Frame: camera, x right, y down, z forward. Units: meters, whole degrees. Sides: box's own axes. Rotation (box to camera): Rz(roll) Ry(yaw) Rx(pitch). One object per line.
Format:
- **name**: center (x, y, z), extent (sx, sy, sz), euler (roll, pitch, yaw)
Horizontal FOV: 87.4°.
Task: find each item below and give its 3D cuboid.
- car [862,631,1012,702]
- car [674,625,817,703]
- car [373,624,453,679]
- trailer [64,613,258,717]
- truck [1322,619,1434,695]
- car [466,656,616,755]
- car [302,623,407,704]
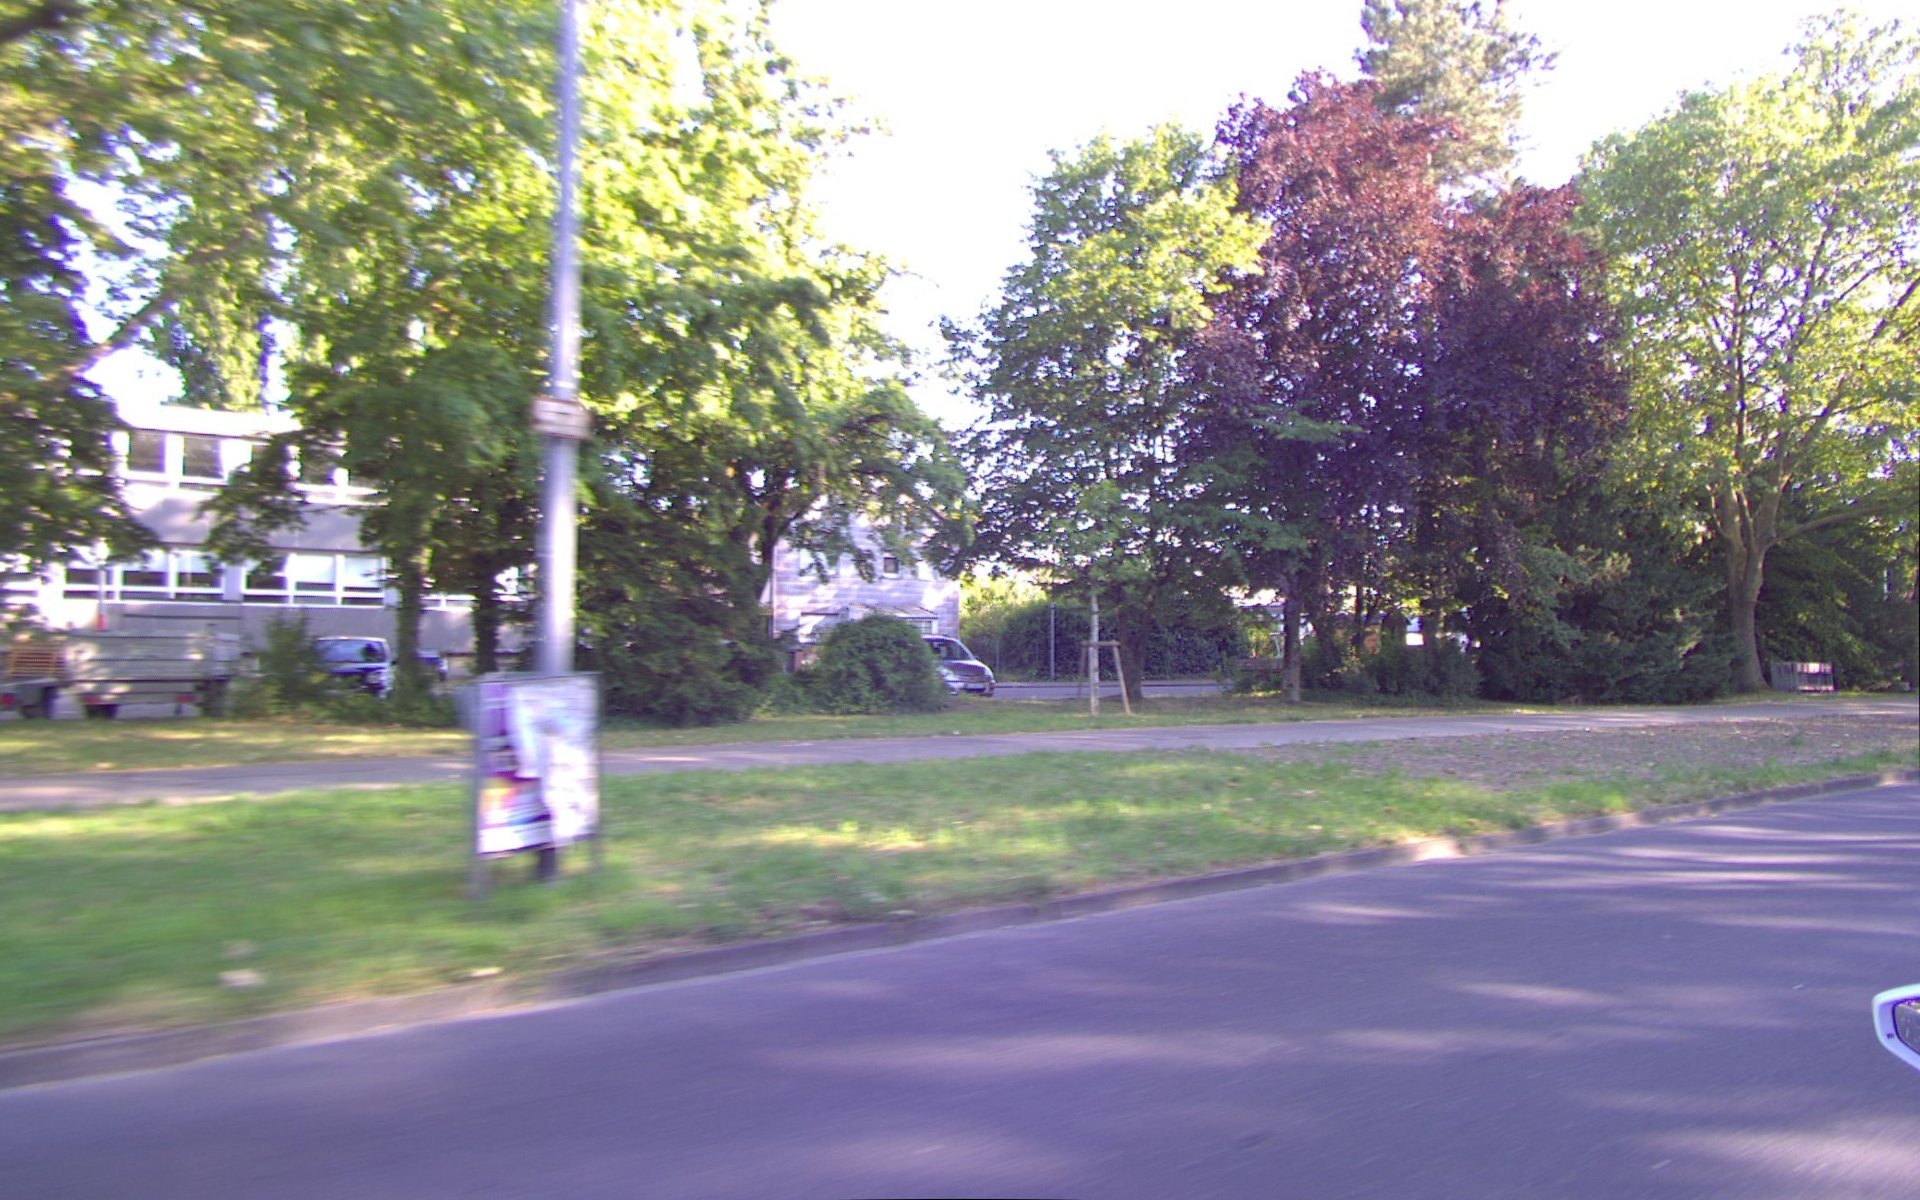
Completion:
- **car**: center (-0.652, 1.621, 25.079), extent (1.910, 1.622, 3.964), euler (3, -4, -33)
- **car**: center (-5.032, 1.448, 23.211), extent (1.910, 1.622, 3.964), euler (2, -3, -33)
- **car**: center (-17.403, 1.612, 31.859), extent (1.909, 1.622, 3.964), euler (2, -3, -33)
- **trailer**: center (-13.640, 1.088, 17.422), extent (1.976, 1.576, 3.969), euler (2, -3, -29)
- **truck**: center (14.471, 1.968, 34.674), extent (3.970, 2.450, 2.062), euler (3, -3, -41)
- **car**: center (-8.145, 1.942, 19.343), extent (1.910, 1.622, 3.964), euler (3, -4, -33)
- **car**: center (-11.480, 1.180, 18.996), extent (1.503, 1.382, 3.369), euler (3, -4, -33)
